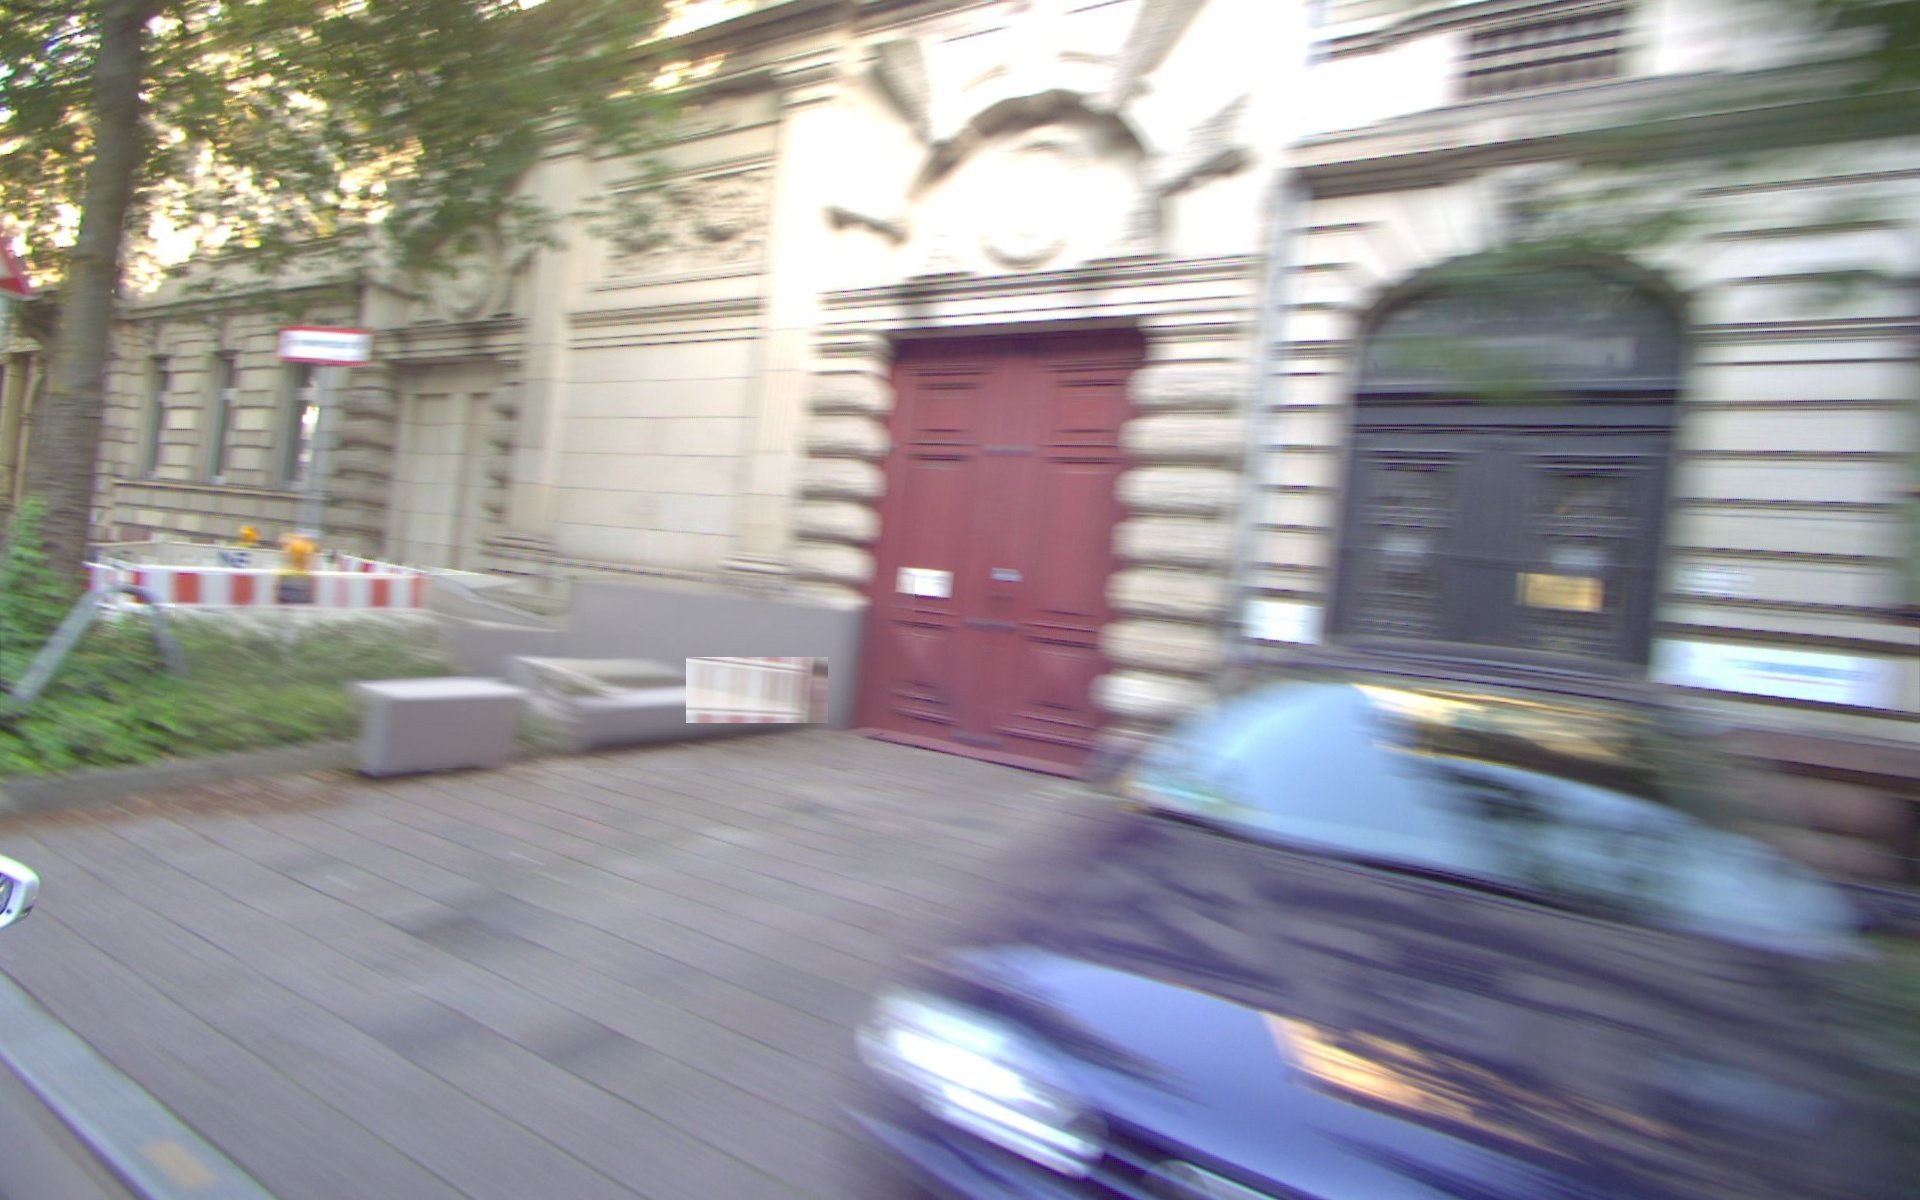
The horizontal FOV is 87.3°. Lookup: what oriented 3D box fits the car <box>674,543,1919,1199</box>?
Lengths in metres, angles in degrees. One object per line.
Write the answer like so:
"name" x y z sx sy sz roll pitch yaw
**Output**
"car" 1.409 0.820 2.997 1.824 1.500 4.226 6 1 31
